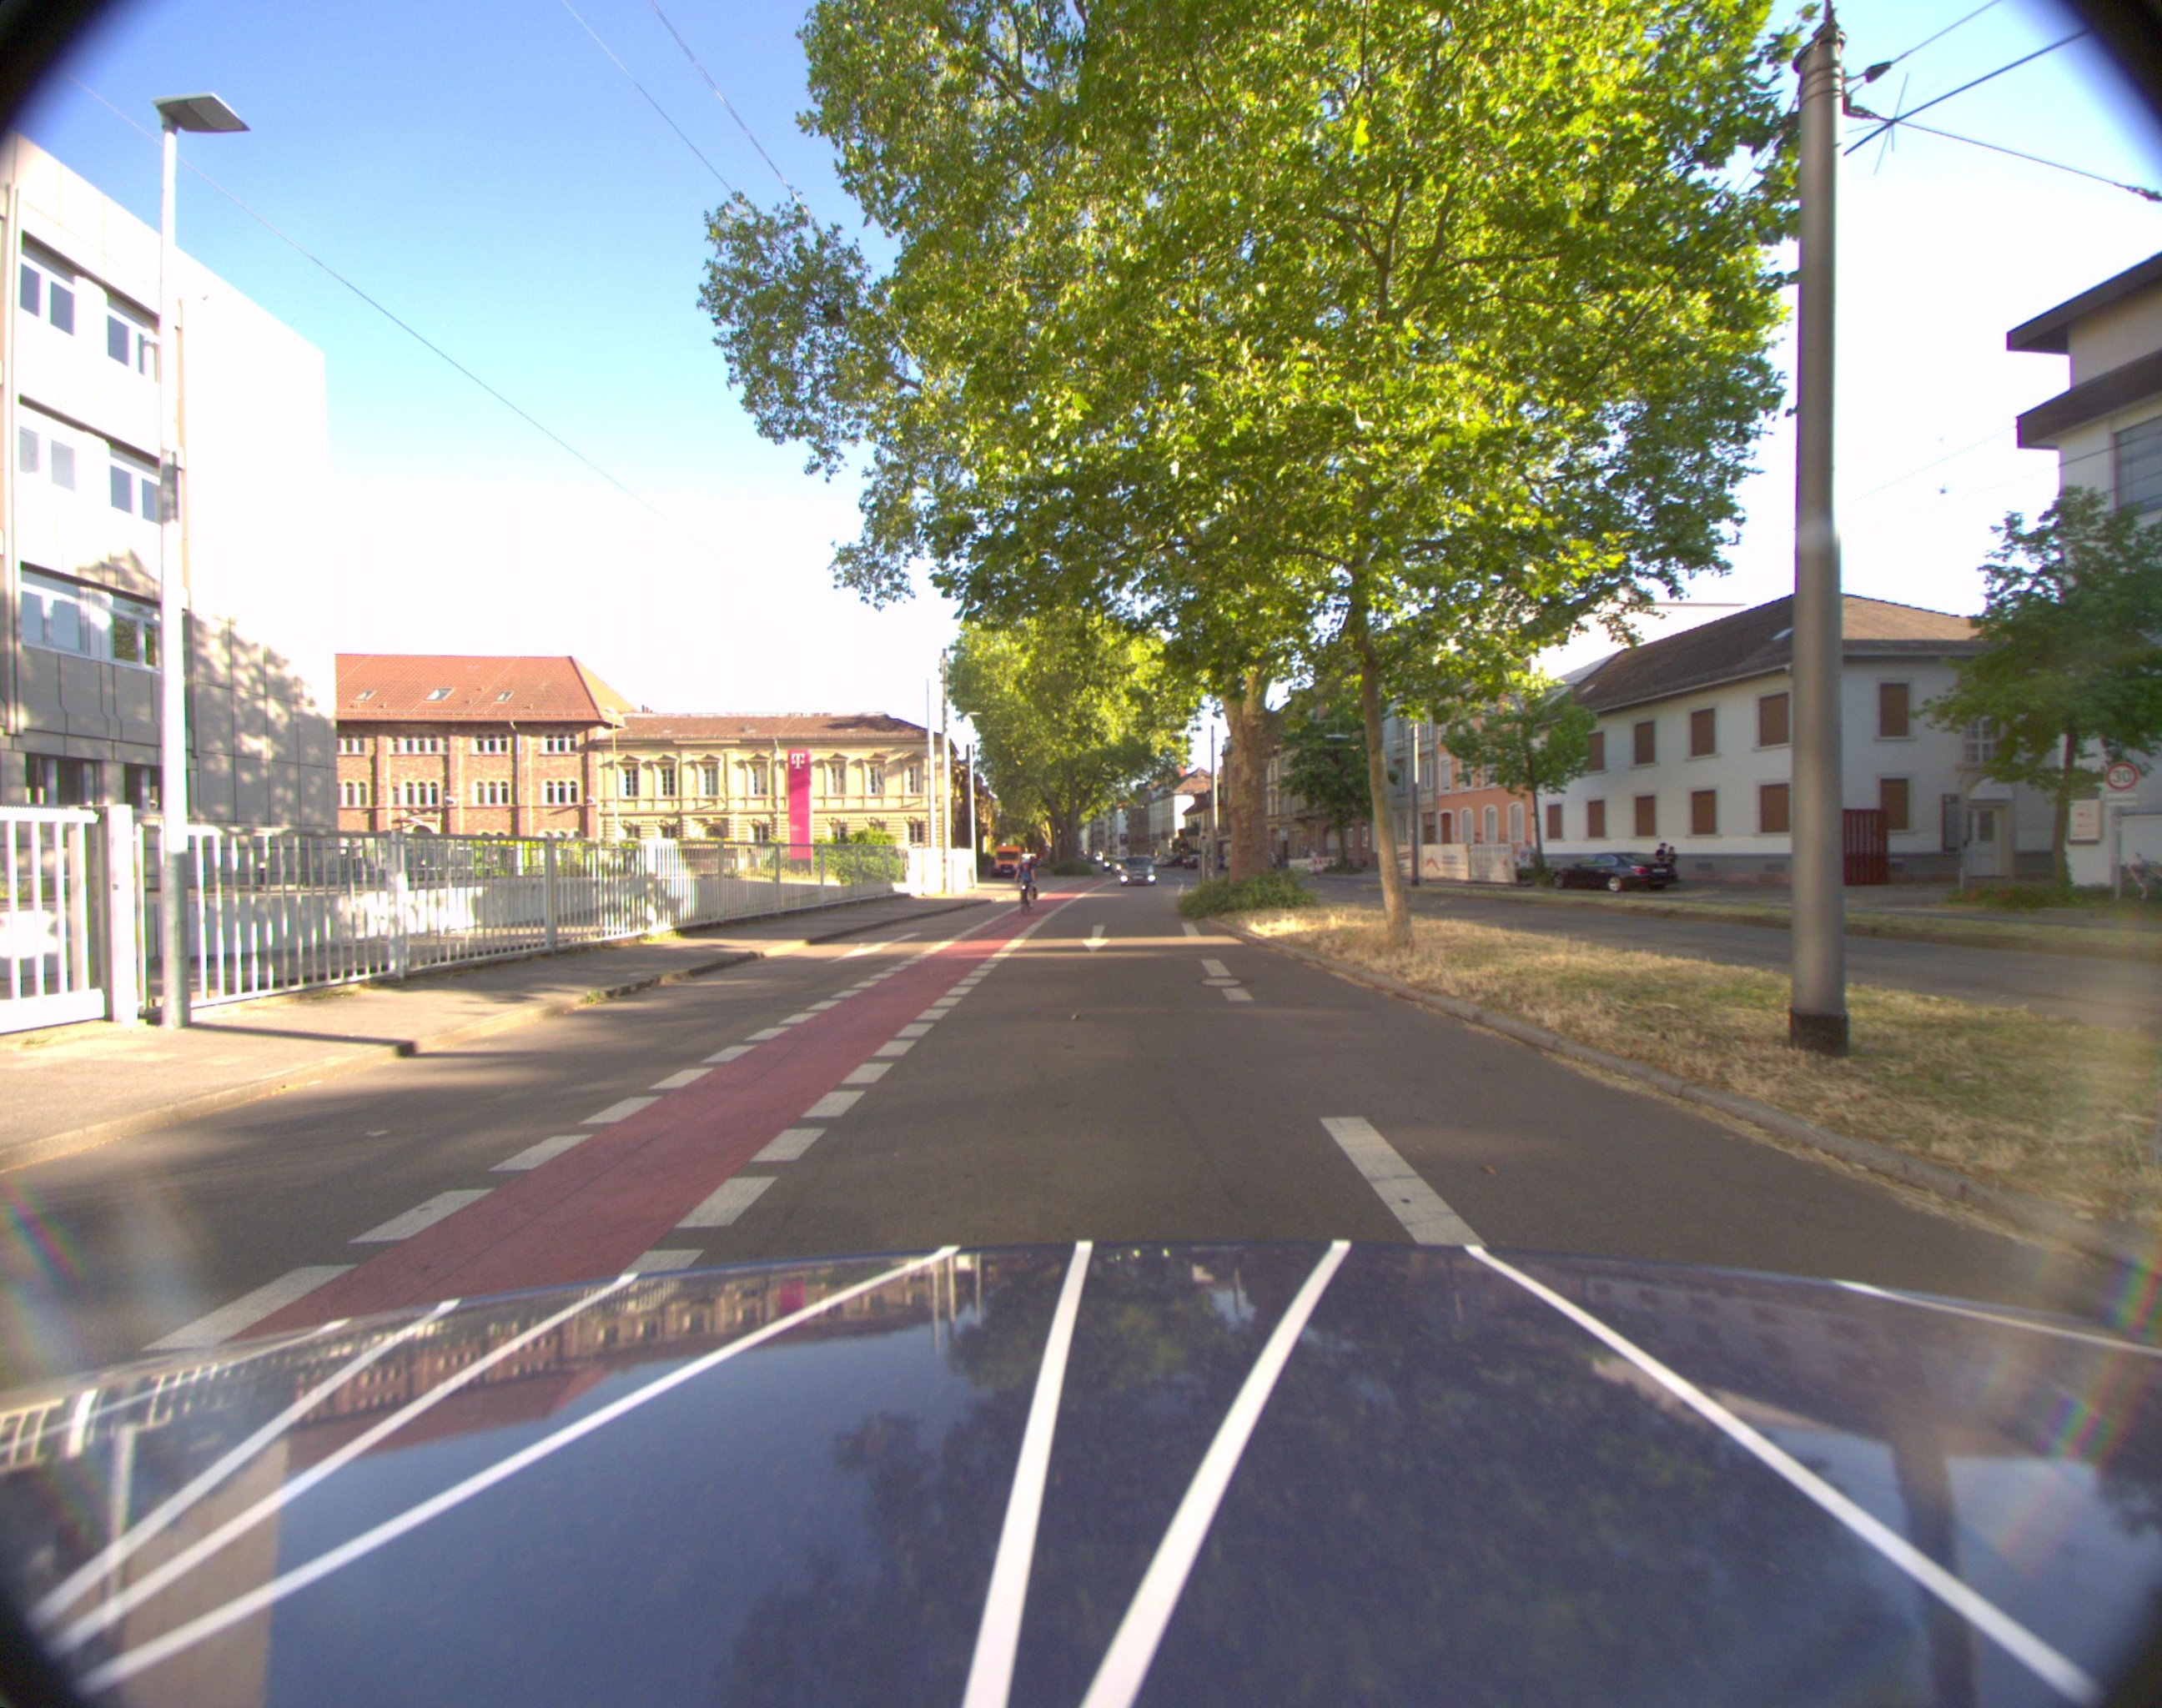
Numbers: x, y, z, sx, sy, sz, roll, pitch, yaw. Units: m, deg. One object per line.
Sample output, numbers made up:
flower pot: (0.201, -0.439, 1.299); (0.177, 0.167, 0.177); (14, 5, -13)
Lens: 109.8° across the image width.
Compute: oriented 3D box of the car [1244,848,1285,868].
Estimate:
car: (16.886, 0.362, 70.170); (2.088, 1.664, 4.530); (-4, 1, -7)

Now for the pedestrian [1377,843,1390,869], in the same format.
pedestrian: (21.789, 0.148, 54.709); (0.562, 1.798, 0.704); (-1, 1, -9)

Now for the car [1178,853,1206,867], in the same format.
car: (13.529, 0.692, 92.919); (2.088, 1.531, 4.513); (-4, 1, -7)

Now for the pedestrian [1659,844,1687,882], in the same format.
pedestrian: (23.843, 0.364, 30.598); (0.537, 1.519, 0.711); (-1, 1, -5)

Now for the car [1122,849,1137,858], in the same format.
car: (9.007, -0.042, 140.914); (2.088, 1.531, 4.006); (-4, 1, -7)

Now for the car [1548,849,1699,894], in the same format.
car: (20.525, 0.616, 29.050); (2.088, 1.462, 4.576); (-4, 1, -7)

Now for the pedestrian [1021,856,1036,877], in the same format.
pedestrian: (-3.718, 0.885, 53.777); (0.898, 1.464, 0.810); (-1, 1, 3)

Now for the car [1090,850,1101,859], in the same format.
car: (3.012, 0.078, 162.921); (1.999, 1.741, 3.998); (-2, 1, -4)

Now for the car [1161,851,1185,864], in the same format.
car: (12.753, 0.473, 105.994); (2.088, 1.531, 5.101); (-4, 1, -7)

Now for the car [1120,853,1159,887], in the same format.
car: (3.185, 0.823, 41.441); (1.908, 1.634, 4.517); (-3, 1, 4)

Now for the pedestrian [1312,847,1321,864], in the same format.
pedestrian: (20.656, 0.112, 66.651); (0.640, 1.519, 0.616); (-1, 1, 5)

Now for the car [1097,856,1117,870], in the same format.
car: (2.748, 0.929, 80.766); (1.998, 1.376, 4.000); (-2, 1, 2)

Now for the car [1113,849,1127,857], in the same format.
car: (7.919, -0.146, 156.221); (2.088, 1.531, 4.117); (-4, 1, -7)

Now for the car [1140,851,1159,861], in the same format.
car: (10.806, 0.330, 120.794); (2.088, 1.531, 4.095); (-4, 1, -7)

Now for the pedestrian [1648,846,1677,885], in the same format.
pedestrian: (22.988, 0.446, 30.044); (0.537, 1.519, 0.711); (-1, 1, -11)

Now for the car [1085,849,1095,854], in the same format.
car: (2.532, -0.700, 218.651); (2.088, 1.531, 4.124); (-4, 1, -7)

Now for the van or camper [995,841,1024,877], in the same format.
van or camper: (-5.451, 0.353, 58.702); (1.999, 2.578, 5.623); (-2, 1, -4)

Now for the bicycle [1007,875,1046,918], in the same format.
bicycle: (-1.579, 1.230, 22.522); (0.764, 1.137, 2.307); (-1, 0, 5)

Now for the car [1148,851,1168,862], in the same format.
car: (11.602, 0.367, 114.873); (2.088, 1.531, 4.036); (-4, 1, -7)

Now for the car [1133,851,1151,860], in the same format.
car: (10.476, 0.250, 130.703); (2.088, 1.531, 4.253); (-4, 1, -7)

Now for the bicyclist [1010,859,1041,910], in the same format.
bicyclist: (-1.619, 0.885, 22.316); (0.727, 1.414, 0.859); (-2, 1, 5)
